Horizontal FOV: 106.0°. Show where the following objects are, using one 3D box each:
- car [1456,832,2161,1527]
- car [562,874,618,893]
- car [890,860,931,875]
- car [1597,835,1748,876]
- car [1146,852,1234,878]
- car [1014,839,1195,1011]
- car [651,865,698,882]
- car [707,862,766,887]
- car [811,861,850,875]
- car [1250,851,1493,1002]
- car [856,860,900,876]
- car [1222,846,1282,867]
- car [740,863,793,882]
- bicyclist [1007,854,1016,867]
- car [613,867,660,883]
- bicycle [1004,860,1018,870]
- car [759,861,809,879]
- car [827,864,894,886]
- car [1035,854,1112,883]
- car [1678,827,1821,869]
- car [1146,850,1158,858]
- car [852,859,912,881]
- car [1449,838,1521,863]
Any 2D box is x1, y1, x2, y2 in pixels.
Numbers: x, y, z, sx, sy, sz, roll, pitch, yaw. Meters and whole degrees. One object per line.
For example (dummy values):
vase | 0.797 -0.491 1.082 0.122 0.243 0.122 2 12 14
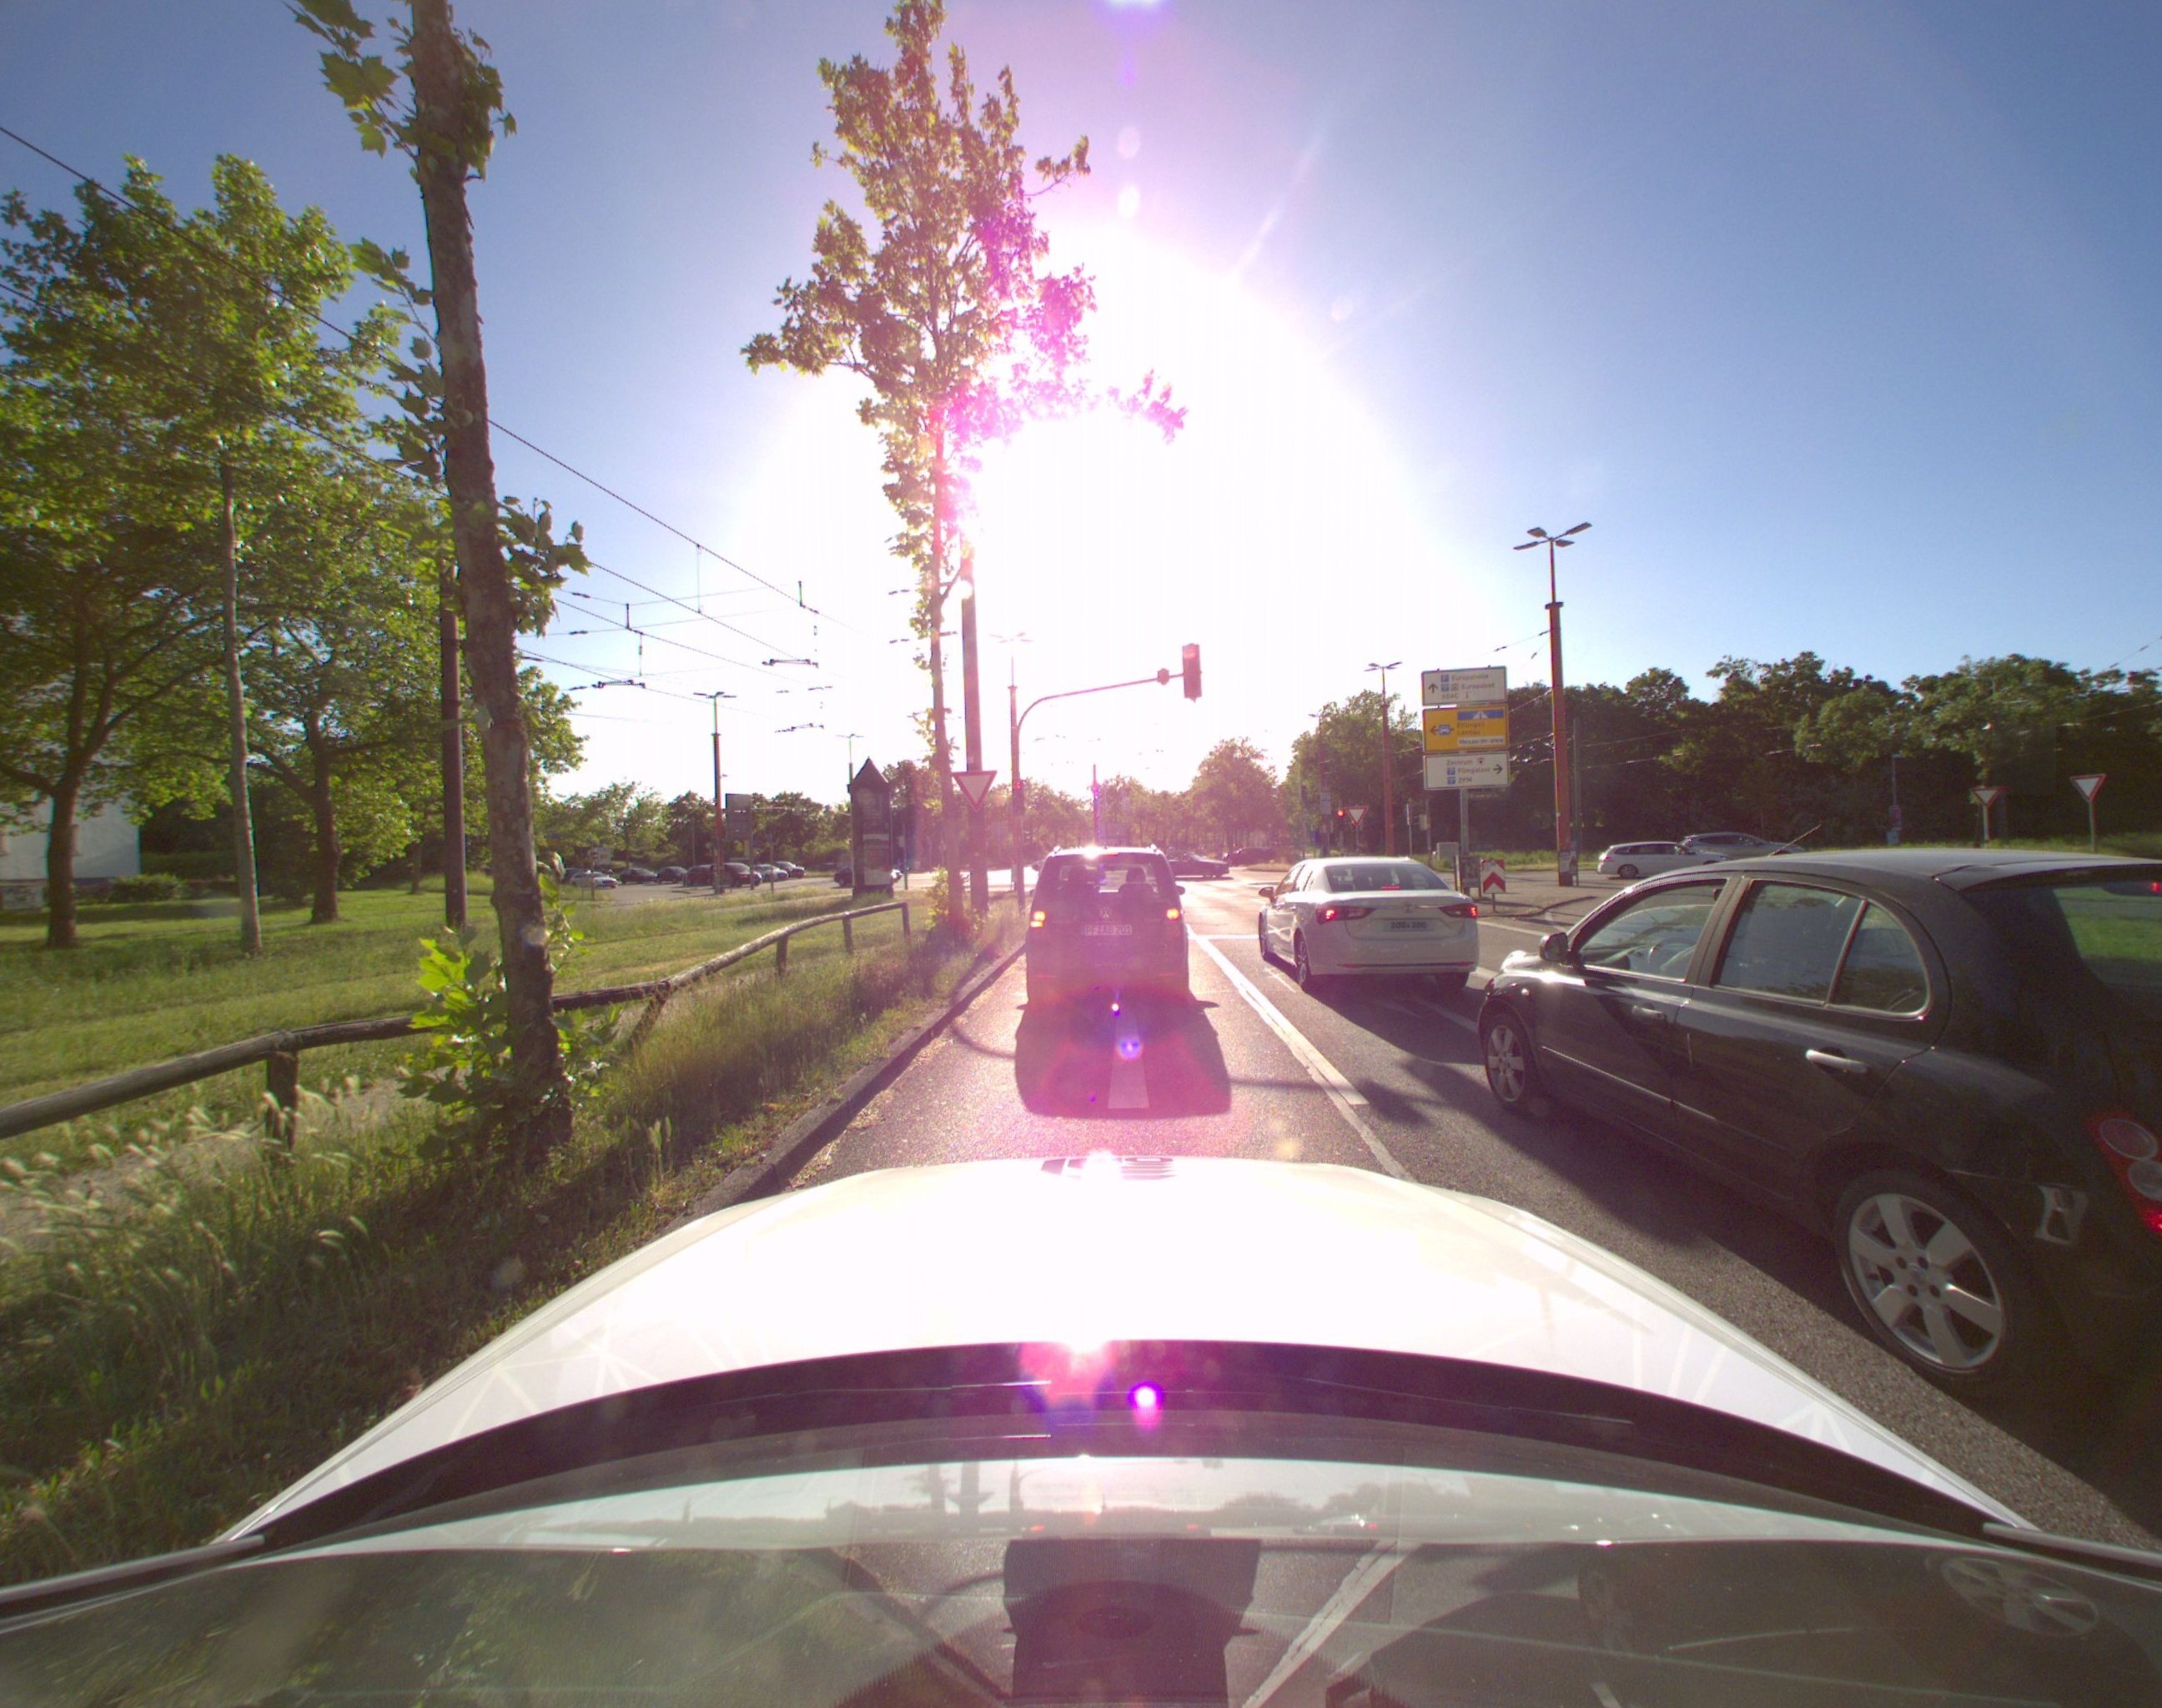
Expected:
car | 3.168 0.695 3.510 1.550 1.506 3.517 -2 0 2
car | -42.204 2.527 69.972 4.867 1.575 2.013 -2 0 31
car | -20.324 1.625 96.900 4.473 1.596 1.984 -2 0 -23
car | 23.439 0.063 32.525 4.709 1.494 1.782 -2 0 30
car | 6.193 0.639 46.576 4.608 1.362 1.782 -2 0 31
car | 0.297 0.697 9.986 1.731 1.641 4.002 -2 0 2
car | -37.352 1.777 74.839 4.004 1.464 1.926 -2 0 28
car | -25.824 1.549 61.071 4.302 1.732 1.854 -2 0 30
car | -30.387 1.695 98.804 4.411 1.596 2.012 -2 0 28
car | 3.298 0.720 10.114 1.708 1.454 4.147 -2 0 3
car | -21.909 1.525 87.871 4.411 1.596 2.012 -2 0 28
car | 14.254 0.191 67.863 4.411 1.596 2.012 -2 0 28
car | -26.770 1.593 69.249 4.169 1.464 1.926 -2 0 29
bicyclist | -8.114 0.762 95.011 0.686 1.457 0.879 -2 -1 20
car | -42.355 1.987 77.645 4.187 1.464 1.926 -2 0 28
bicycle | -8.145 1.229 94.790 0.728 1.090 1.971 -2 0 21
car | -26.531 1.451 72.654 4.169 1.464 1.926 -2 0 29
car | -14.700 1.423 54.243 4.262 1.327 1.772 -2 0 31
car | -0.417 0.806 45.899 3.949 1.494 1.782 -2 0 29
car | 27.594 -0.212 33.805 4.309 1.581 1.782 -2 0 30
car | 16.351 0.009 187.183 1.979 1.684 4.848 -2 0 15
car | -14.485 1.162 59.204 4.179 1.479 1.765 -2 0 32
car | 28.299 -0.235 57.023 4.411 1.596 2.012 -2 0 28
